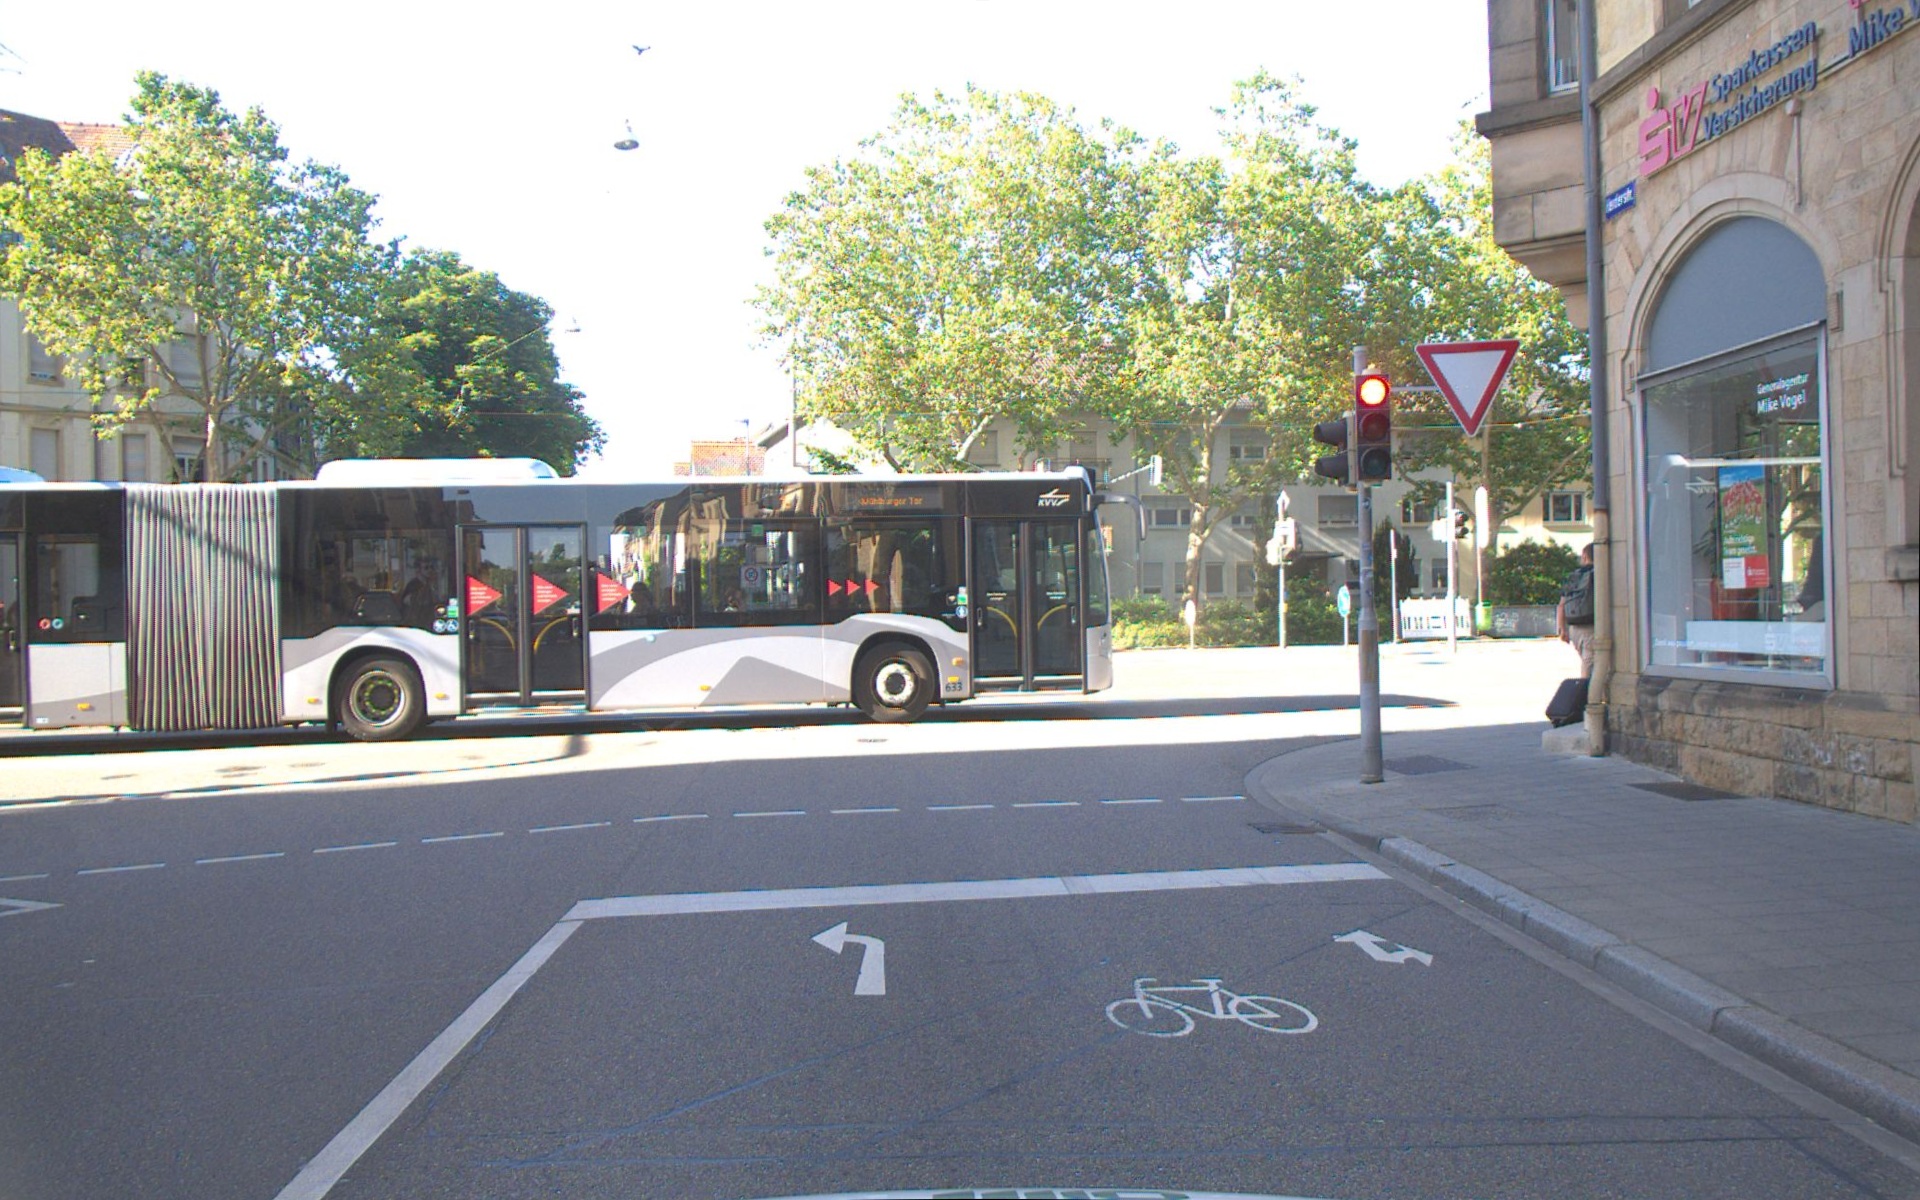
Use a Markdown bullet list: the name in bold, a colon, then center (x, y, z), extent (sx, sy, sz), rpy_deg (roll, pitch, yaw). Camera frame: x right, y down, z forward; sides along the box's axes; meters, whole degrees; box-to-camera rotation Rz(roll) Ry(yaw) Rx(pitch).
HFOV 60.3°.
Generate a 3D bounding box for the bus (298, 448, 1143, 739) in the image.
- **bus**: center (-2.724, -0.139, 20.106), extent (9.443, 3.150, 2.740), rpy_deg (-1, 0, -9)

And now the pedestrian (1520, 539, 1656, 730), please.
- **pedestrian**: center (6.347, 0.333, 16.749), extent (1.047, 1.881, 0.746), rpy_deg (0, 0, -13)

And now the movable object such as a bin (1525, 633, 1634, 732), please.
- **movable object such as a bin**: center (6.064, 0.796, 16.202), extent (0.847, 0.907, 0.508), rpy_deg (-2, 0, -13)

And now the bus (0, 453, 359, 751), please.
- **bus**: center (-11.589, 0.041, 18.587), extent (8.662, 3.150, 2.739), rpy_deg (-1, 0, -10)
